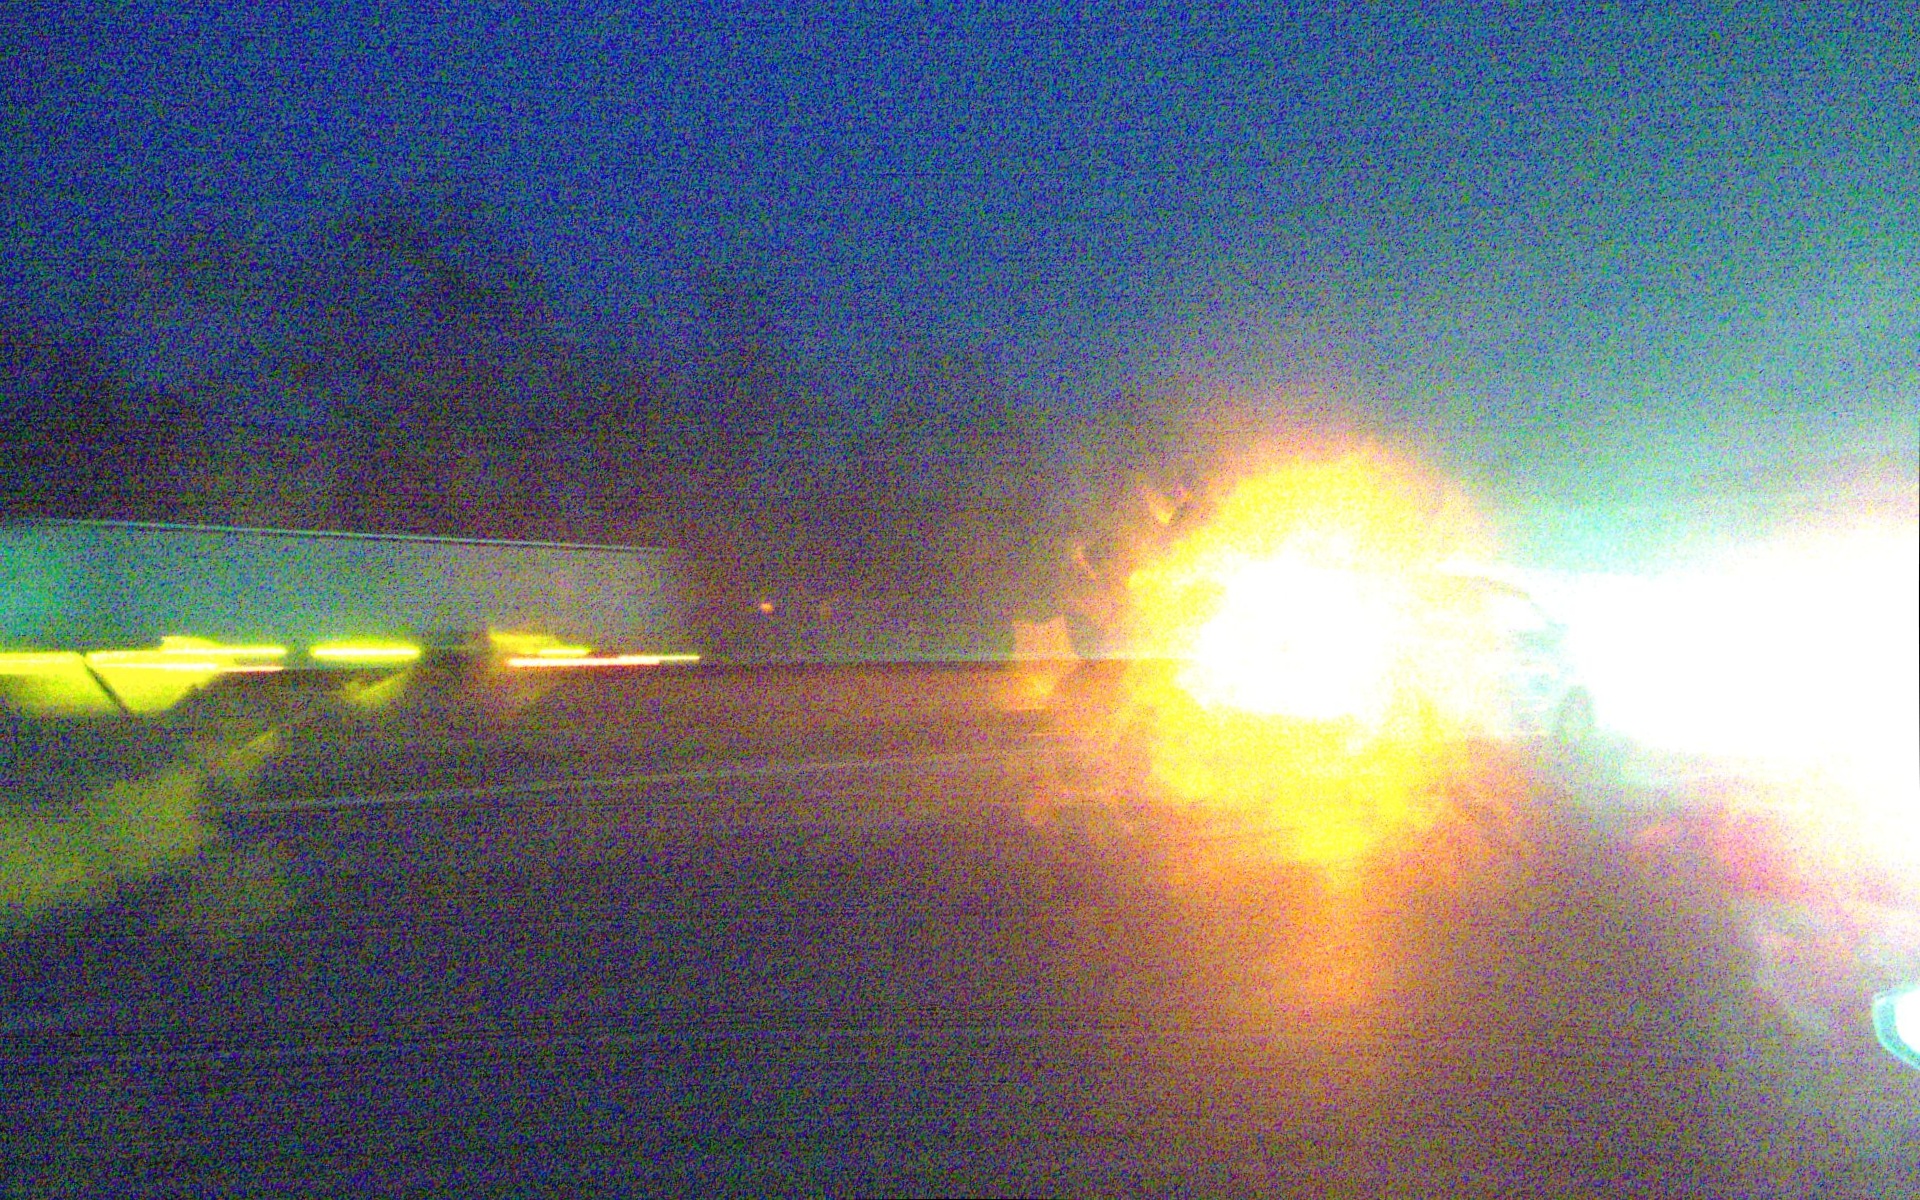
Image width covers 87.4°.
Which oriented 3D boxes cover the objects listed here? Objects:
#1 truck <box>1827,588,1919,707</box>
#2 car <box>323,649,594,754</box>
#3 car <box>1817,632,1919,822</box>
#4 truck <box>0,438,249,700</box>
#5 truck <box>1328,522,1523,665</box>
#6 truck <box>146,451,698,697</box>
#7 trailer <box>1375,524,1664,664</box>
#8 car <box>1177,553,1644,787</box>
[{"bbox_3d":[20.441,0.975,20.404,5.797,2.230,2.840,2,-1,-34],"label":"truck"},{"bbox_3d":[-8.489,1.651,17.173,3.954,1.533,1.648,2,-1,-31],"label":"car"},{"bbox_3d":[9.284,1.030,8.893,4.205,1.450,1.645,1,-1,-36],"label":"car"},{"bbox_3d":[-20.586,-0.639,23.695,5.811,5.666,3.222,2,-1,-31],"label":"truck"},{"bbox_3d":[17.739,-0.139,38.283,6.404,4.974,3.770,2,-1,-31],"label":"truck"},{"bbox_3d":[-14.021,-0.427,27.743,12.650,5.666,3.222,2,-1,-31],"label":"truck"},{"bbox_3d":[23.634,-0.029,41.881,14.632,5.094,3.770,2,-1,-31],"label":"trailer"},{"bbox_3d":[5.285,0.702,11.502,5.565,2.132,2.112,1,-1,-31],"label":"car"}]
